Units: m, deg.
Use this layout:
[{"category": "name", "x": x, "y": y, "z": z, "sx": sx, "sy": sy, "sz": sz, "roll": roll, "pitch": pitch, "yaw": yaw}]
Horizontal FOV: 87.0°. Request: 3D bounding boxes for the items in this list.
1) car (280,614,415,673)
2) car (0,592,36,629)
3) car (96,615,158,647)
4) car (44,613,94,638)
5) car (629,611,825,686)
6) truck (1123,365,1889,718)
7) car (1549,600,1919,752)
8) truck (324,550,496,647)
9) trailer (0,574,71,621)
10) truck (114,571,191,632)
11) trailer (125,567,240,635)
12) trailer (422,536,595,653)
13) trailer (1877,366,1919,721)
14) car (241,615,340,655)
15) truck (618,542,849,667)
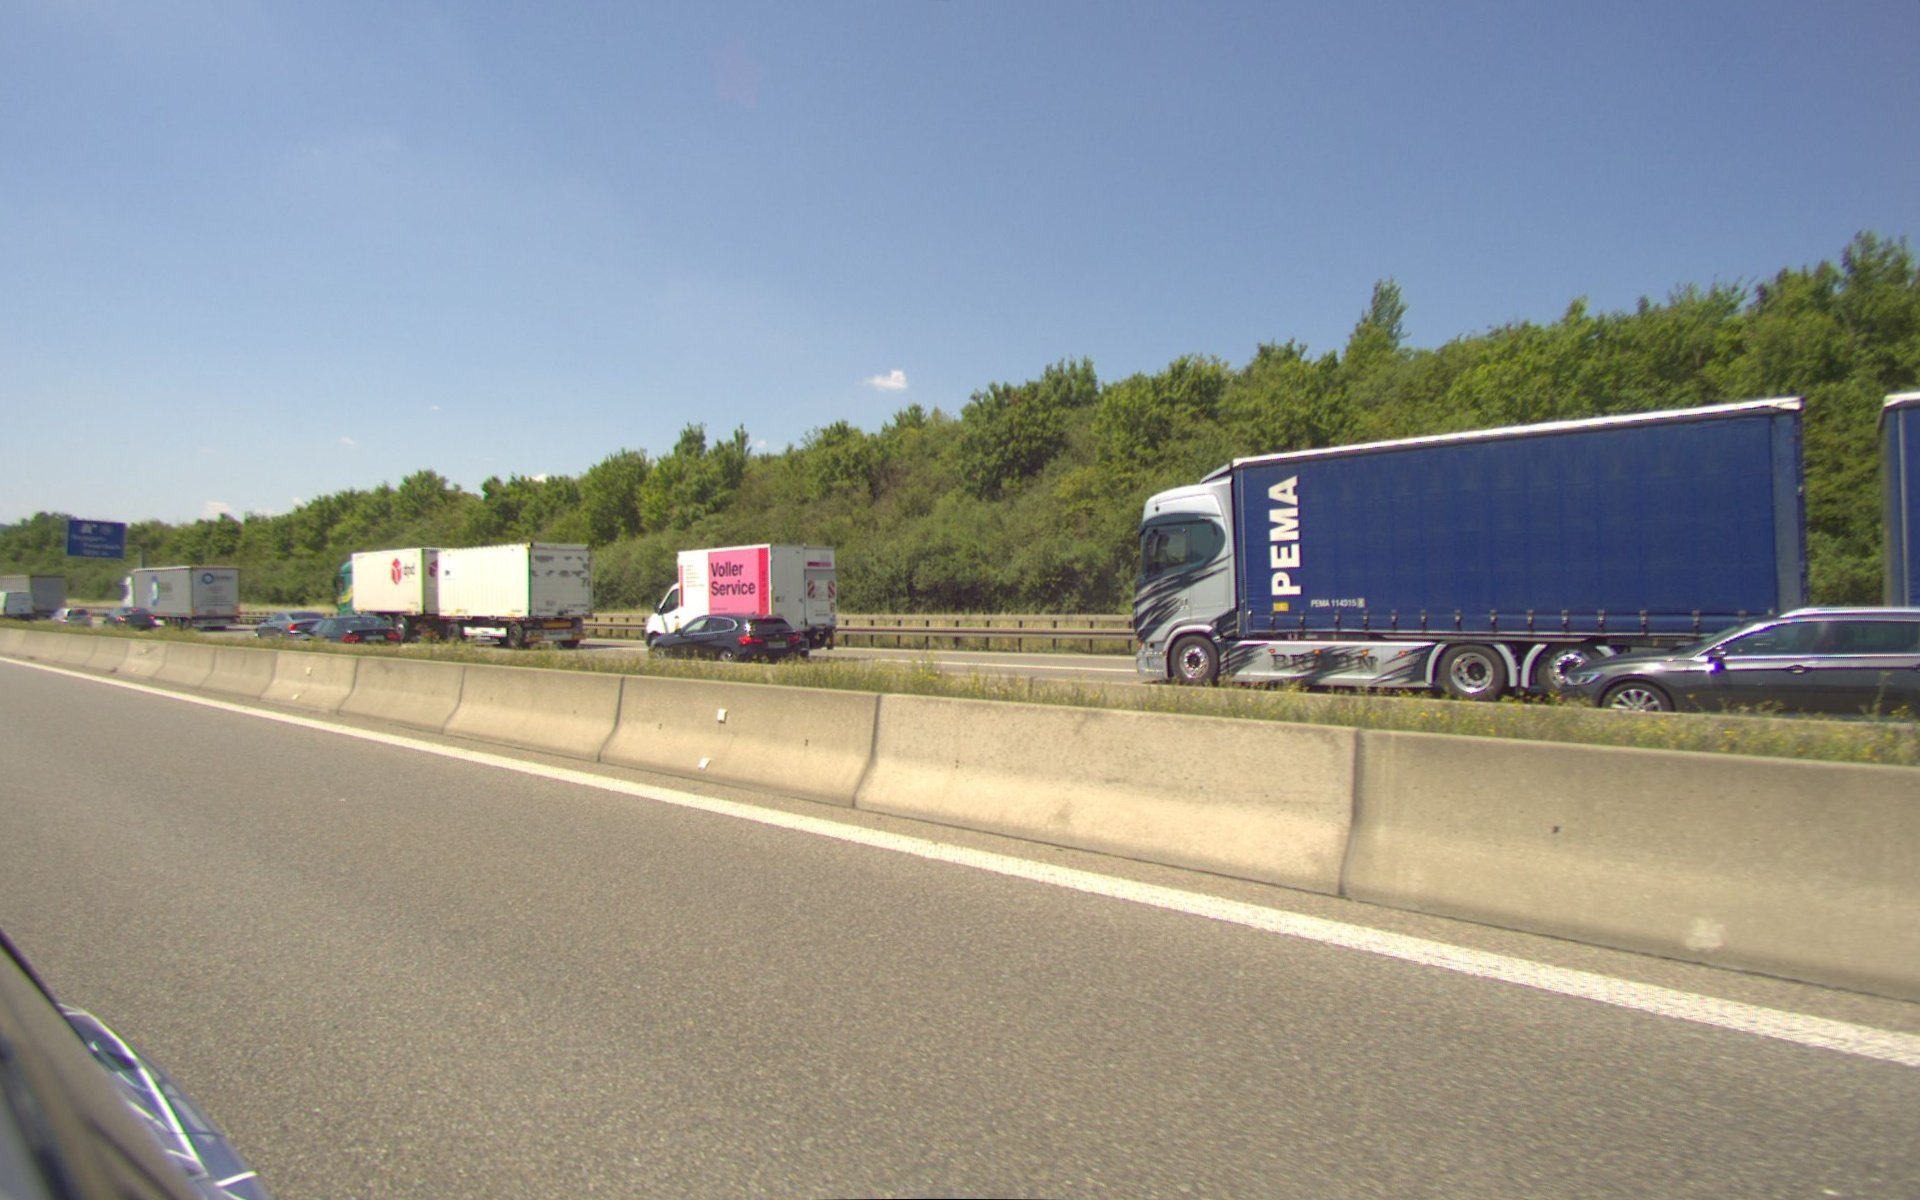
[{"category": "car", "x": -17.964, "y": 1.212, "z": 29.579, "sx": 4.769, "sy": 1.539, "sz": 1.973, "roll": -1, "pitch": 0, "yaw": 40}, {"category": "car", "x": -77.714, "y": 0.837, "z": 82.743, "sx": 6.616, "sy": 2.806, "sz": 2.119, "roll": 2, "pitch": 1, "yaw": 38}, {"category": "car", "x": -49.842, "y": 1.799, "z": 60.494, "sx": 5.108, "sy": 1.654, "sz": 1.843, "roll": 2, "pitch": 1, "yaw": 39}, {"category": "car", "x": -61.071, "y": 1.724, "z": 69.311, "sx": 4.852, "sy": 1.471, "sz": 1.735, "roll": 2, "pitch": 1, "yaw": 38}, {"category": "car", "x": -5.487, "y": 1.053, "z": 23.487, "sx": 4.769, "sy": 1.539, "sz": 1.973, "roll": -1, "pitch": 0, "yaw": 40}, {"category": "truck", "x": 8.114, "y": -0.632, "z": 16.901, "sx": 10.728, "sy": 4.266, "sz": 2.970, "roll": -1, "pitch": -1, "yaw": 41}, {"category": "car", "x": 9.496, "y": 0.745, "z": 10.926, "sx": 5.167, "sy": 1.466, "sz": 1.973, "roll": -1, "pitch": -1, "yaw": 40}, {"category": "truck", "x": -24.945, "y": 0.030, "z": 45.523, "sx": 11.237, "sy": 3.928, "sz": 2.814, "roll": -1, "pitch": -2, "yaw": 40}, {"category": "trailer", "x": -87.573, "y": -0.305, "z": 95.403, "sx": 14.172, "sy": 4.238, "sz": 2.954, "roll": 1, "pitch": 1, "yaw": 38}, {"category": "truck", "x": -56.684, "y": 0.124, "z": 71.007, "sx": 6.596, "sy": 4.067, "sz": 2.825, "roll": 0, "pitch": -1, "yaw": 39}, {"category": "trailer", "x": -51.566, "y": 0.096, "z": 66.865, "sx": 14.430, "sy": 4.117, "sz": 2.874, "roll": 0, "pitch": -1, "yaw": 39}, {"category": "trailer", "x": -17.723, "y": -0.117, "z": 39.453, "sx": 8.224, "sy": 4.103, "sz": 2.890, "roll": -1, "pitch": -2, "yaw": 41}, {"category": "trailer", "x": 15.387, "y": -0.715, "z": 10.484, "sx": 8.591, "sy": 4.224, "sz": 2.954, "roll": -1, "pitch": -1, "yaw": 42}, {"category": "car", "x": -28.459, "y": 1.452, "z": 42.954, "sx": 5.489, "sy": 1.557, "sz": 1.974, "roll": 0, "pitch": -1, "yaw": 39}, {"category": "truck", "x": -6.797, "y": 0.149, "z": 29.629, "sx": 7.582, "sy": 3.232, "sz": 2.513, "roll": -1, "pitch": -1, "yaw": 40}]
